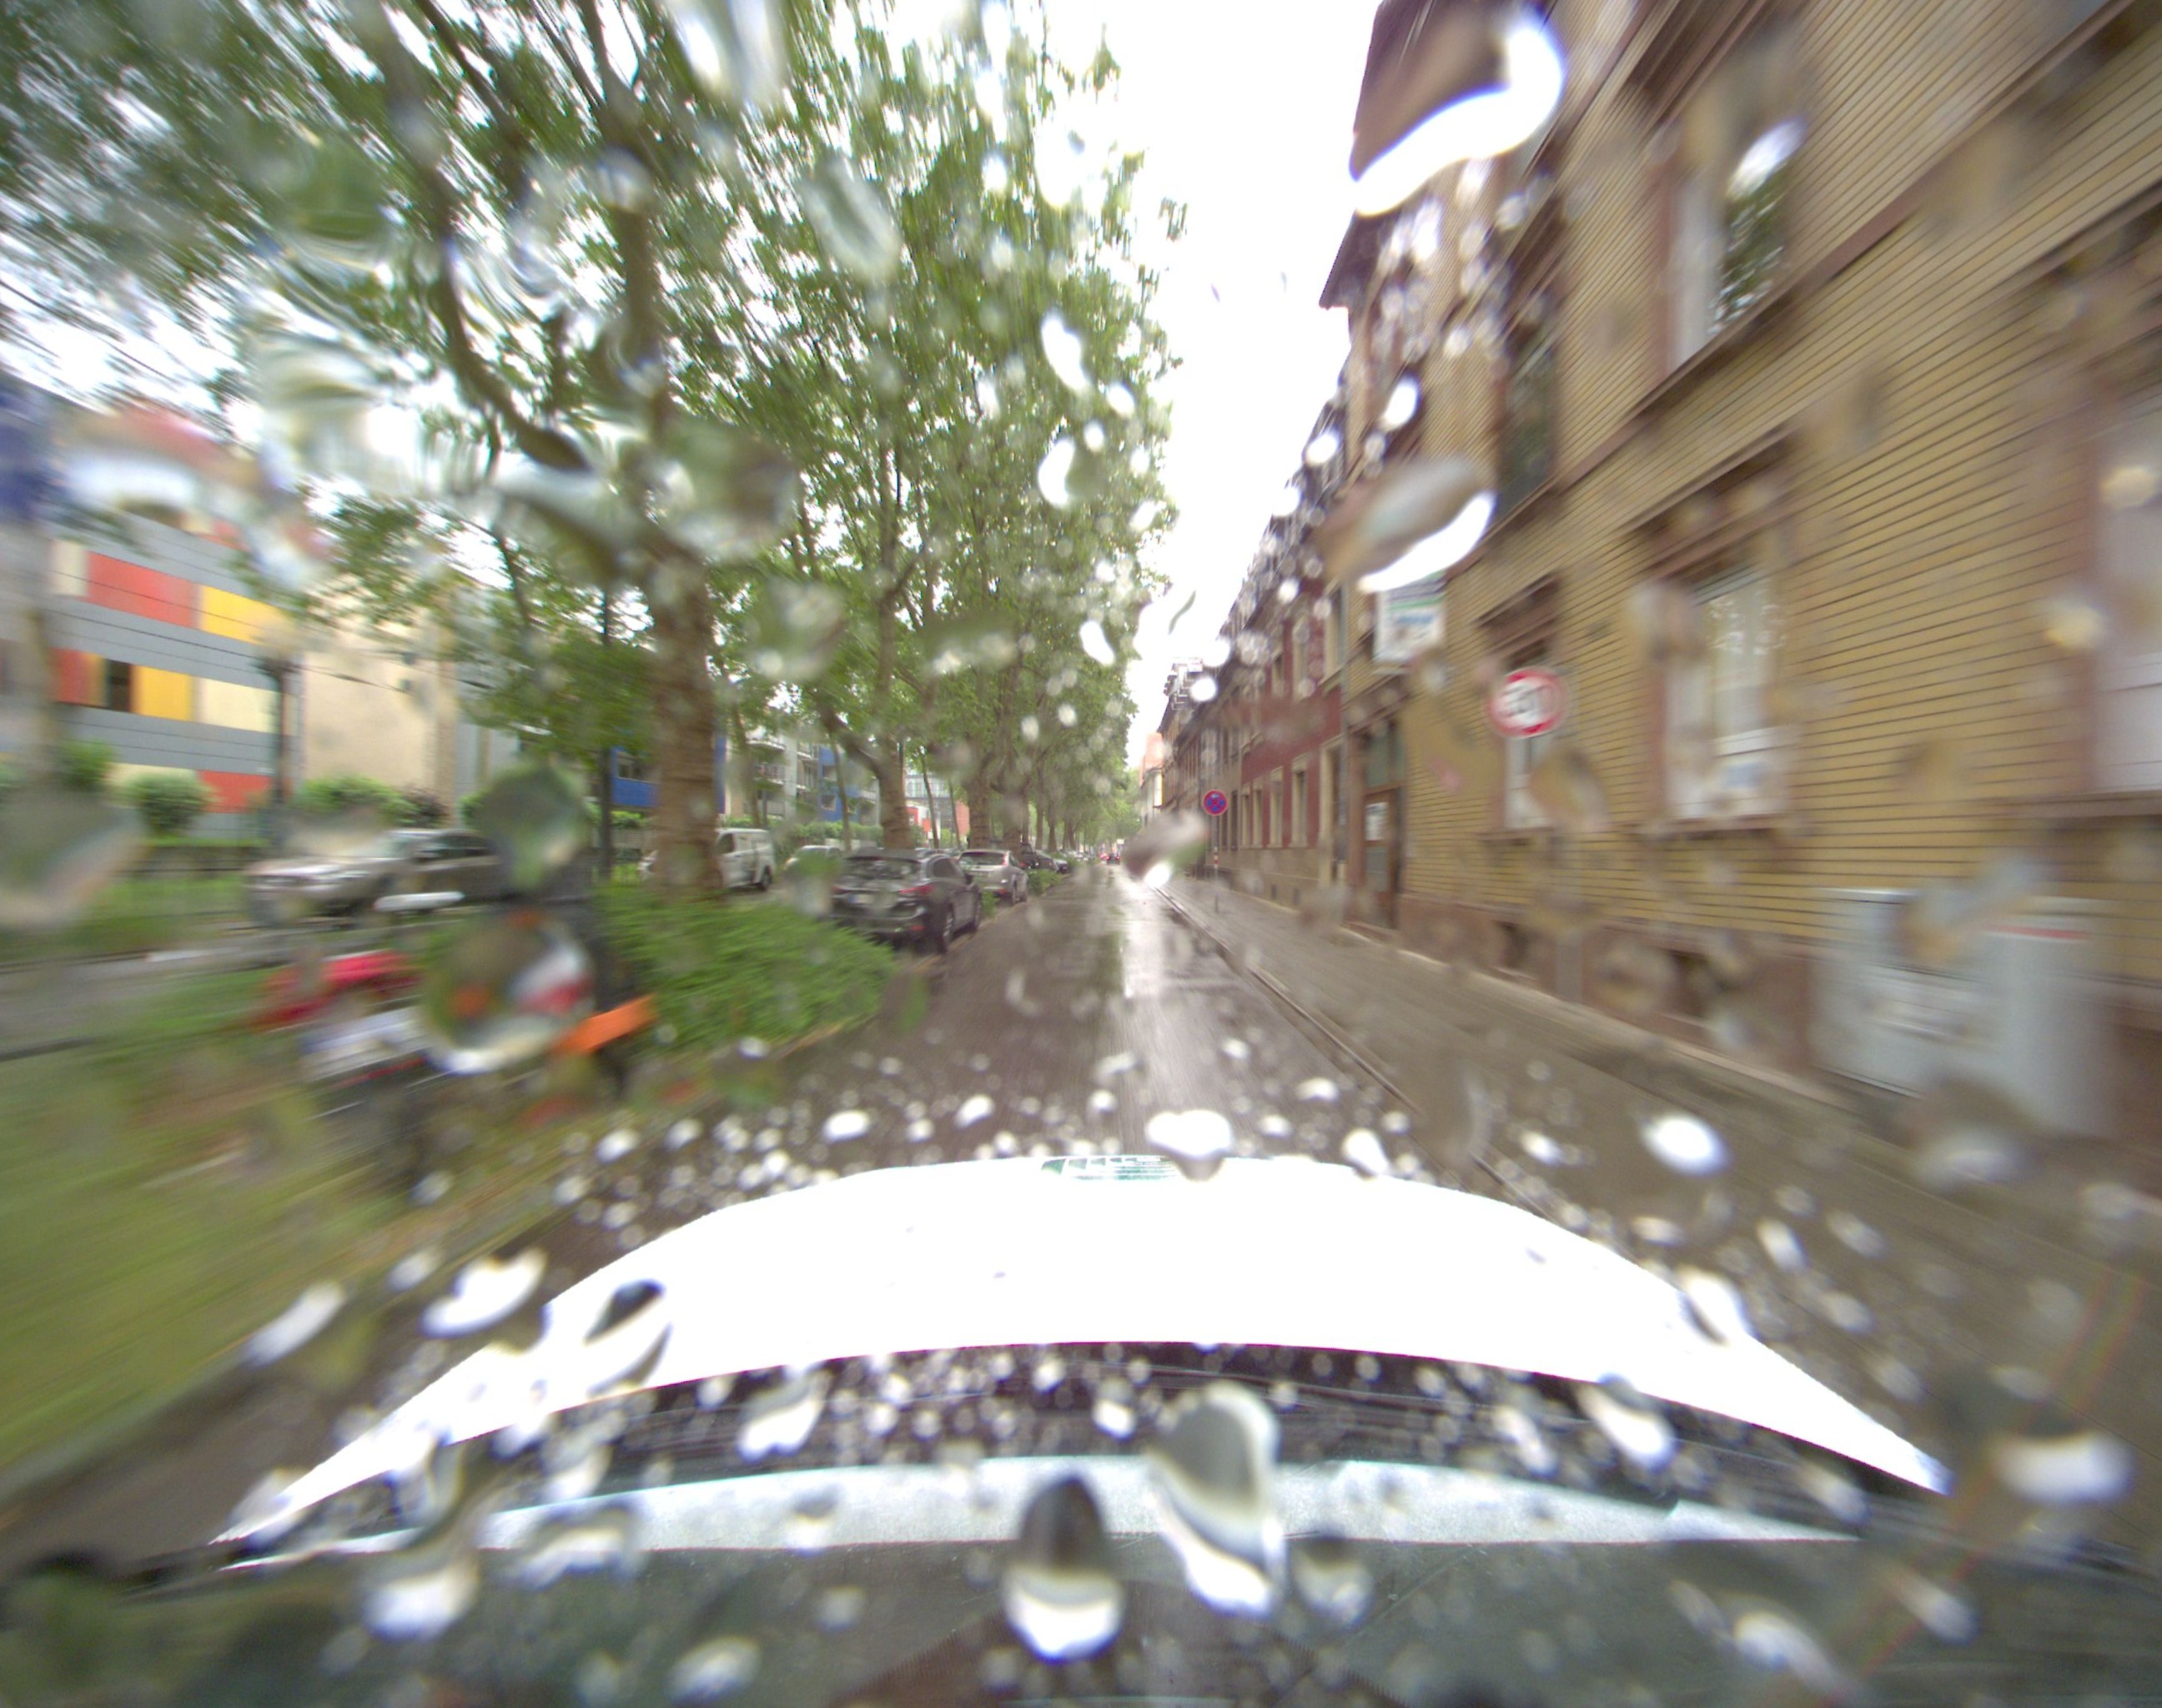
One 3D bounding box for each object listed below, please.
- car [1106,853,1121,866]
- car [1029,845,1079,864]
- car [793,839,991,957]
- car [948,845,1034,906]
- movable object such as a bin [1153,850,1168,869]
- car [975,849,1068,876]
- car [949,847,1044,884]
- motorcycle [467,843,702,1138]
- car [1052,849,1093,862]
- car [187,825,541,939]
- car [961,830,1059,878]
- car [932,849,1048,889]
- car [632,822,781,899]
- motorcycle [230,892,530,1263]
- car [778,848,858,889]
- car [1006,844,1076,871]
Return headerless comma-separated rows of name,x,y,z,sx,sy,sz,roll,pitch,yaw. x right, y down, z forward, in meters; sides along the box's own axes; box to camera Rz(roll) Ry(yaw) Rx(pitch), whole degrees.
car,4.284,0.656,107.811,1.986,1.640,4.002,1,0,2
car,-2.881,0.044,87.661,5.065,1.977,2.116,-1,0,33
car,-2.738,0.560,13.014,1.889,1.485,4.624,2,0,2
car,-2.401,0.526,22.733,1.722,1.514,4.209,2,0,2
movable object such as a bin,5.892,0.379,60.390,1.017,1.301,1.367,-3,1,2
car,-3.163,0.438,42.998,4.601,1.325,1.858,0,0,29
car,-3.452,0.451,33.267,3.459,1.436,1.792,0,0,29
motorcycle,-3.220,0.692,5.174,0.776,1.500,2.083,2,0,-45
car,-1.028,0.170,97.147,4.502,1.482,1.786,-1,0,32
car,-11.641,0.377,13.768,1.897,1.600,4.470,1,0,2
car,-3.525,-0.004,40.253,4.600,2.283,2.025,0,0,35
car,-3.442,0.547,30.805,3.996,1.435,1.792,0,0,27
car,-11.068,0.145,24.619,2.048,1.997,5.431,2,0,-1
motorcycle,-3.443,0.848,3.983,0.874,1.209,2.116,1,0,-44
car,-10.821,0.550,33.821,1.897,1.534,4.216,1,0,1
car,-2.519,0.198,51.315,4.013,1.537,1.847,1,1,32
